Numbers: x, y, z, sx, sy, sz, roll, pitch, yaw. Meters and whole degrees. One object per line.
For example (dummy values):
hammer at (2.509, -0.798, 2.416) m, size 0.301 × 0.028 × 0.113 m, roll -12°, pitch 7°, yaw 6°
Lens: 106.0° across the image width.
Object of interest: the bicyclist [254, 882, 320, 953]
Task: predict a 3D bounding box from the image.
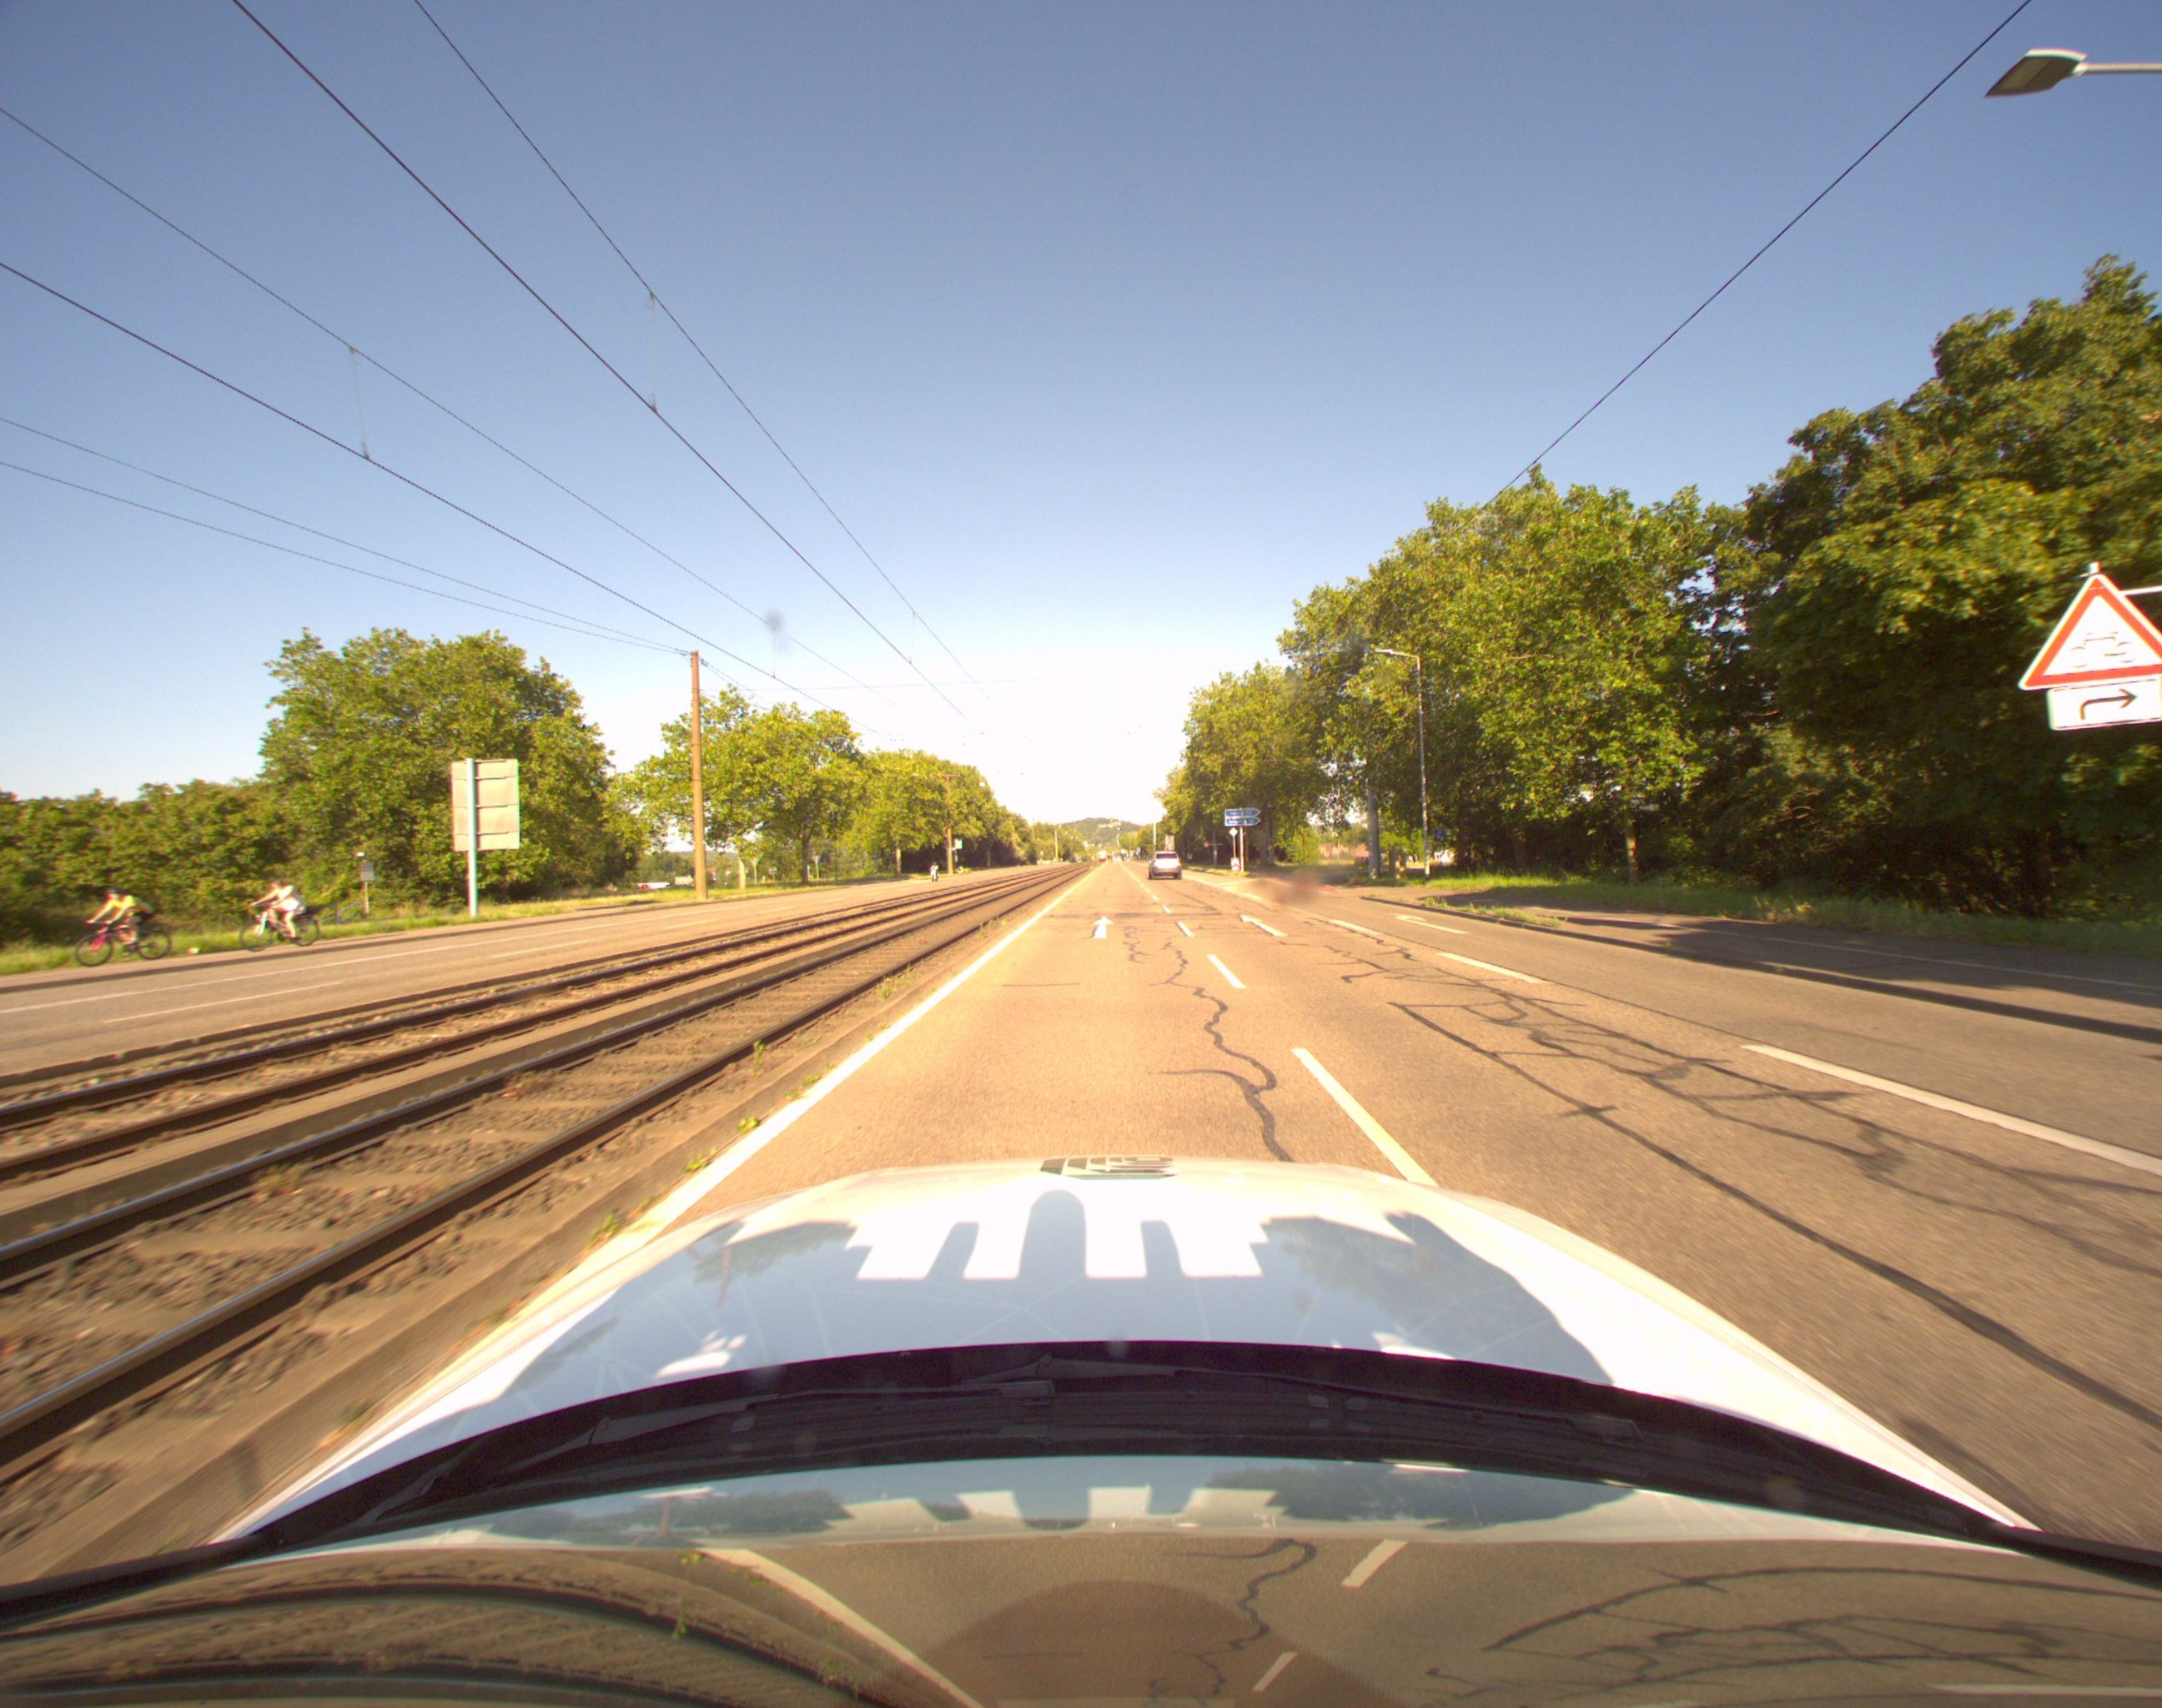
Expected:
bicyclist at (-19.024, 1.499, 19.525) m, size 0.588 × 1.611 × 0.967 m, roll -2°, pitch -1°, yaw 2°

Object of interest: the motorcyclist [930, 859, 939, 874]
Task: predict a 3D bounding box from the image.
motorcyclist at (-11.854, 1.008, 65.924) m, size 0.533 × 1.270 × 0.805 m, roll 0°, pitch -1°, yaw 2°

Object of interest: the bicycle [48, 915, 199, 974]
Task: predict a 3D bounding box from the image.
bicycle at (-20.522, 1.900, 17.538) m, size 0.588 × 1.022 × 2.186 m, roll -2°, pitch 0°, yaw 2°

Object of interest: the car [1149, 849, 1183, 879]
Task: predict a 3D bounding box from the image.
car at (5.147, 0.611, 49.727) m, size 1.879 × 1.693 × 4.262 m, roll -1°, pitch 0°, yaw 5°

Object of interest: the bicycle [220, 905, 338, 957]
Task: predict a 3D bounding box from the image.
bicycle at (-19.032, 1.793, 19.410) m, size 0.588 × 1.022 × 2.186 m, roll -2°, pitch 0°, yaw 2°

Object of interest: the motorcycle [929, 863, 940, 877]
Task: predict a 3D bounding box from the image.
motorcycle at (-11.854, 1.318, 65.902) m, size 0.533 × 1.091 × 1.903 m, roll 0°, pitch 0°, yaw 2°

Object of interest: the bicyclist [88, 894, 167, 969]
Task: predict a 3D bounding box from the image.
bicyclist at (-20.537, 1.646, 17.555) m, size 0.588 × 1.528 × 0.906 m, roll -2°, pitch -1°, yaw 2°
